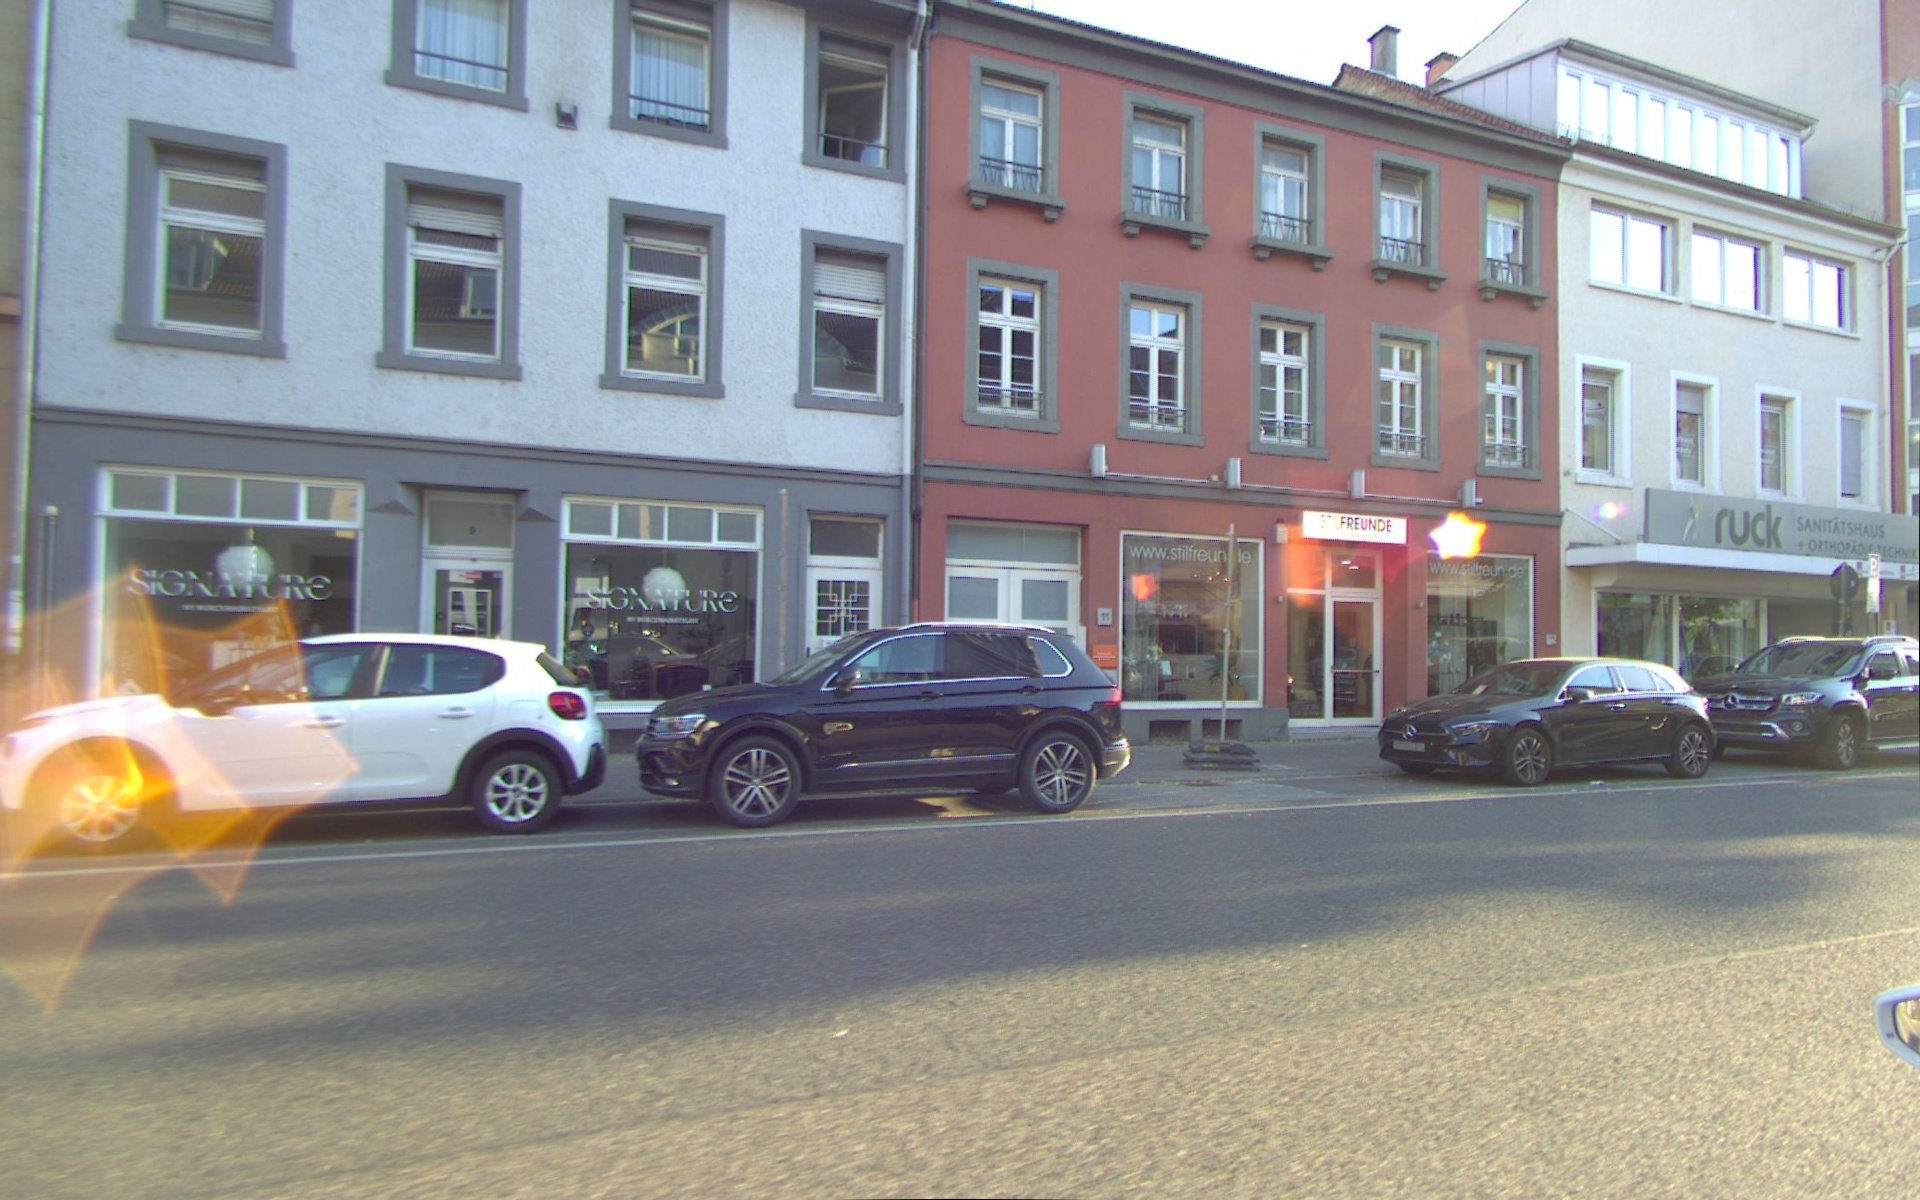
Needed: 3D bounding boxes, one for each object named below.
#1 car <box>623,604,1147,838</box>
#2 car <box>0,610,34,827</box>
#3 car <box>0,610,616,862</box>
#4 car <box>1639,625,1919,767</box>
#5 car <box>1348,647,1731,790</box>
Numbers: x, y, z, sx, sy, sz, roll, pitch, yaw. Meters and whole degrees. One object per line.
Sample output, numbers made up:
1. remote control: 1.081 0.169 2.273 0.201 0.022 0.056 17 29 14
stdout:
1. car: -0.681 1.009 9.075 4.394 1.720 1.792 2 -4 -21
2. car: -8.500 0.800 6.426 3.369 1.590 1.525 2 -4 -19
3. car: -4.719 0.954 7.749 3.875 1.593 1.660 1 -4 -20
4. car: 12.706 1.343 14.730 5.242 1.800 1.990 2 -3 -23
5. car: 7.077 1.382 12.289 4.345 1.507 1.683 2 -5 -21
